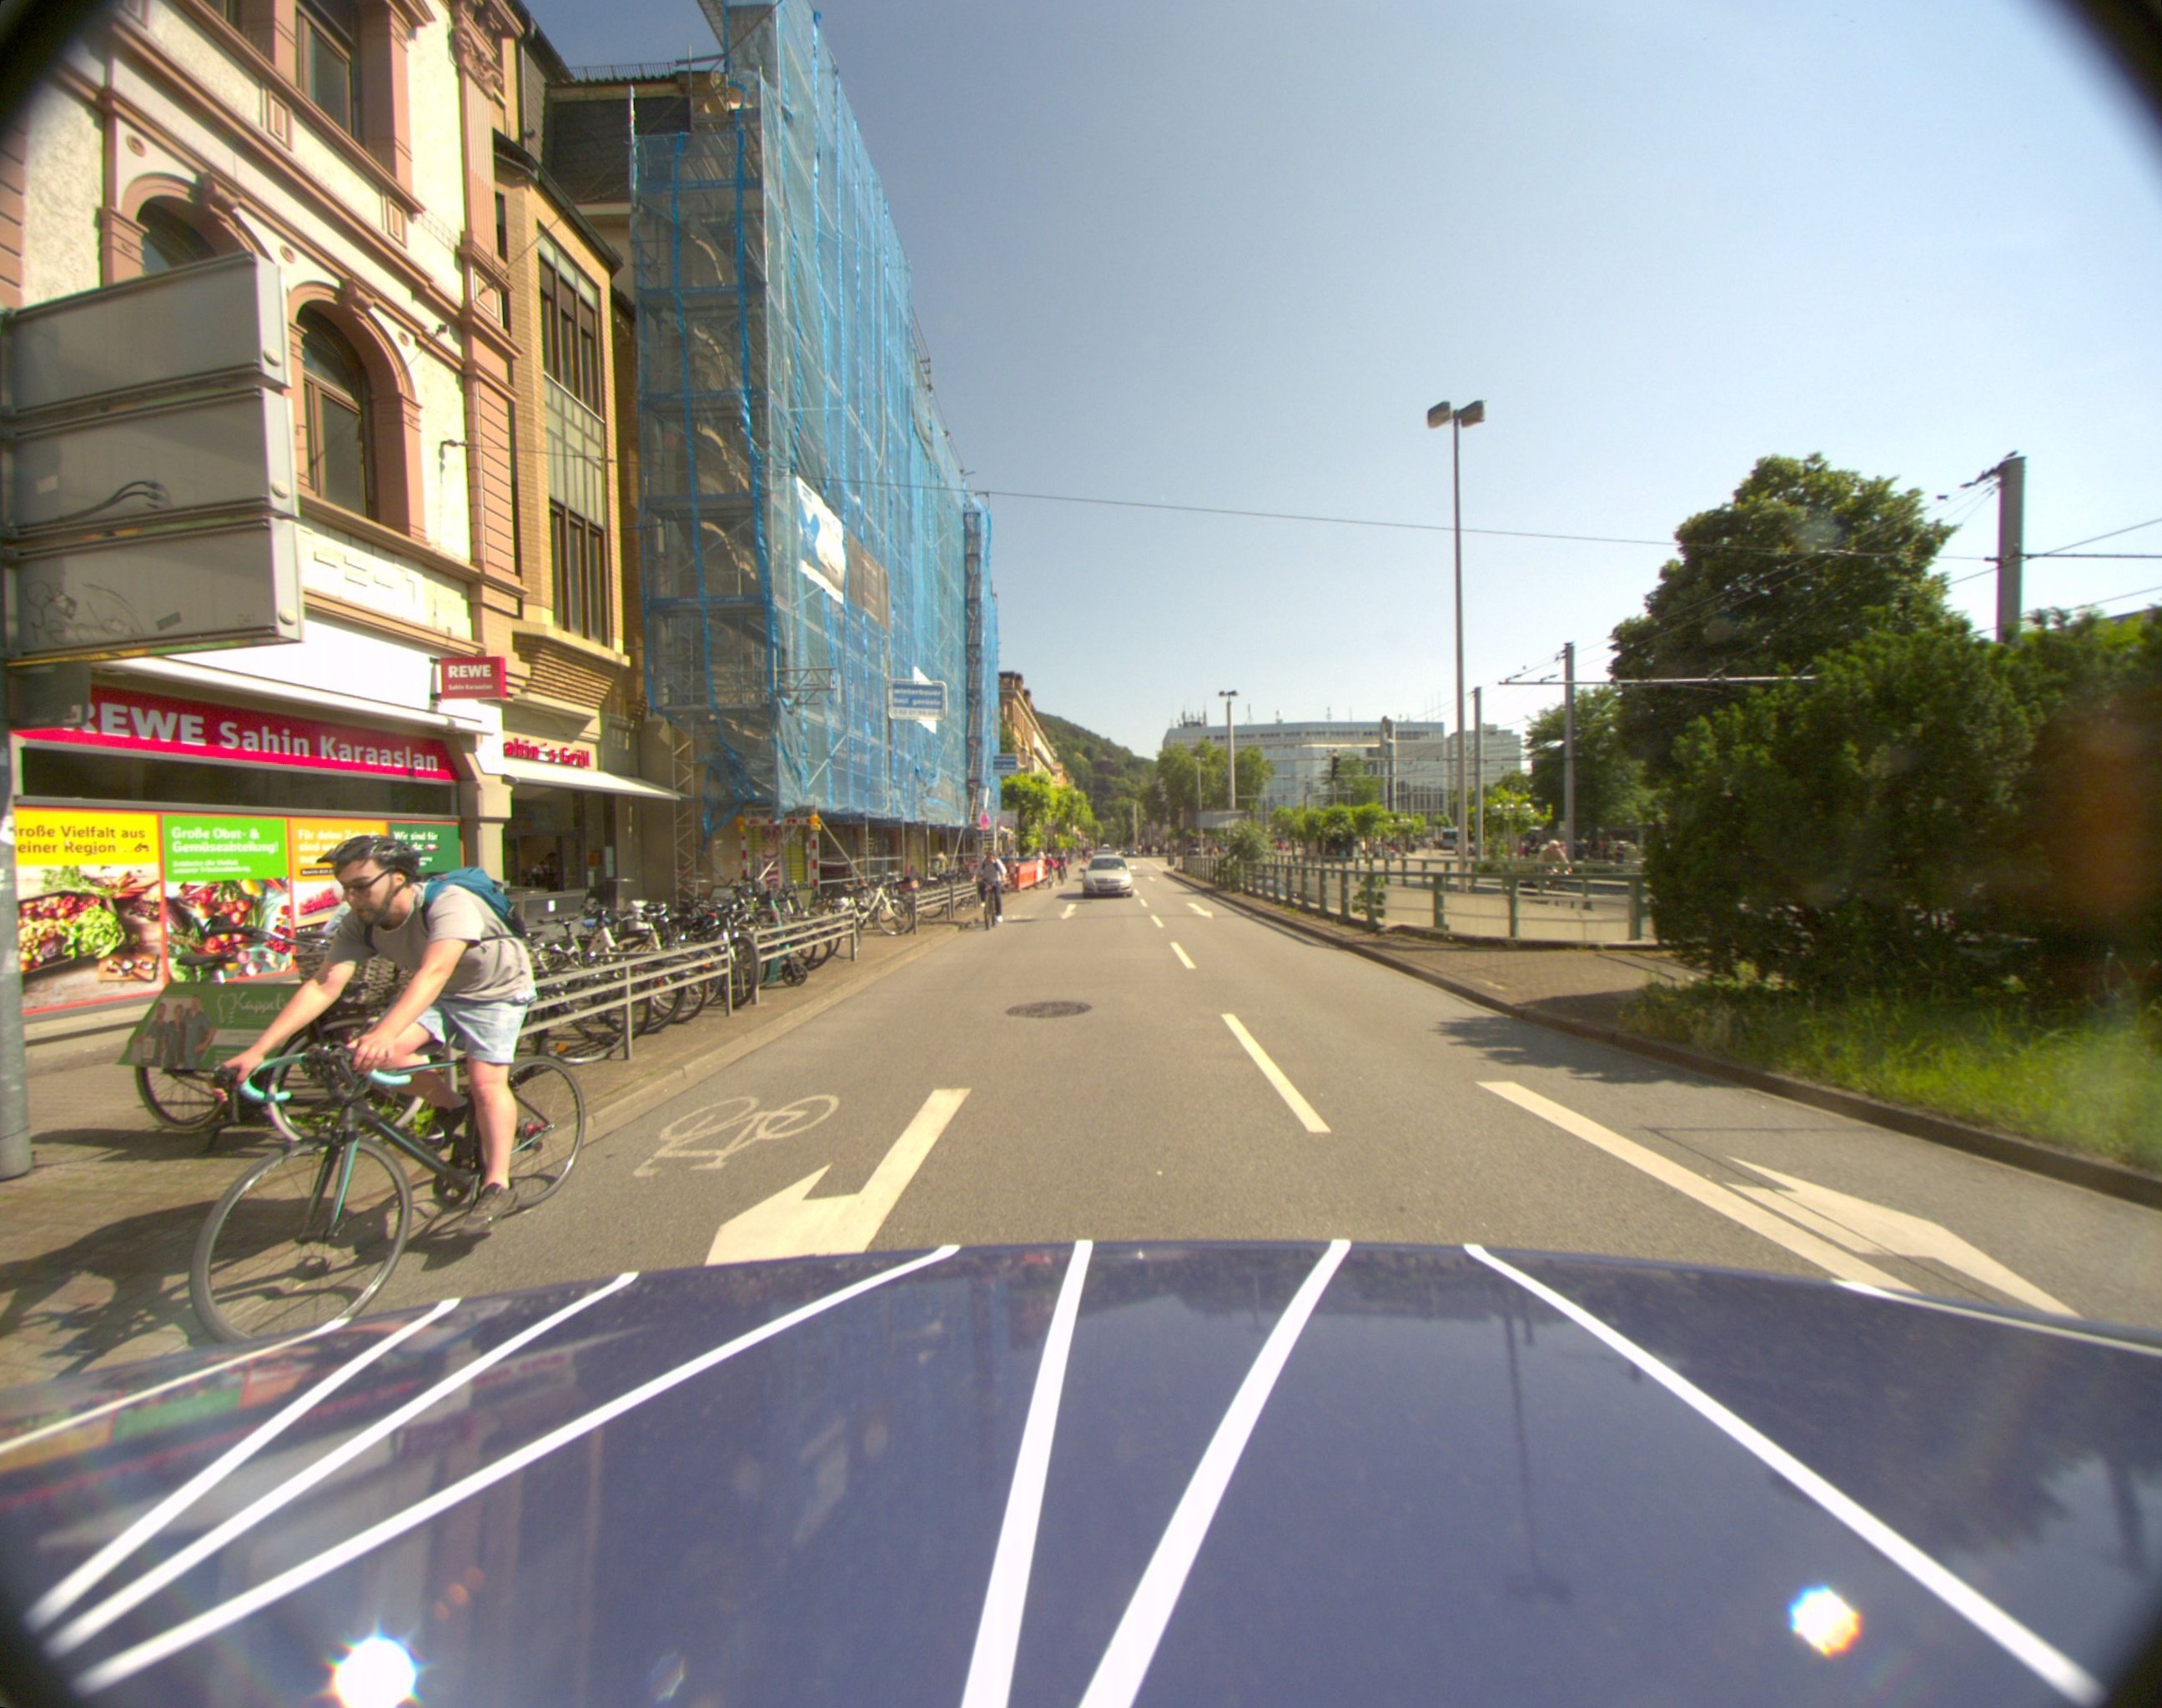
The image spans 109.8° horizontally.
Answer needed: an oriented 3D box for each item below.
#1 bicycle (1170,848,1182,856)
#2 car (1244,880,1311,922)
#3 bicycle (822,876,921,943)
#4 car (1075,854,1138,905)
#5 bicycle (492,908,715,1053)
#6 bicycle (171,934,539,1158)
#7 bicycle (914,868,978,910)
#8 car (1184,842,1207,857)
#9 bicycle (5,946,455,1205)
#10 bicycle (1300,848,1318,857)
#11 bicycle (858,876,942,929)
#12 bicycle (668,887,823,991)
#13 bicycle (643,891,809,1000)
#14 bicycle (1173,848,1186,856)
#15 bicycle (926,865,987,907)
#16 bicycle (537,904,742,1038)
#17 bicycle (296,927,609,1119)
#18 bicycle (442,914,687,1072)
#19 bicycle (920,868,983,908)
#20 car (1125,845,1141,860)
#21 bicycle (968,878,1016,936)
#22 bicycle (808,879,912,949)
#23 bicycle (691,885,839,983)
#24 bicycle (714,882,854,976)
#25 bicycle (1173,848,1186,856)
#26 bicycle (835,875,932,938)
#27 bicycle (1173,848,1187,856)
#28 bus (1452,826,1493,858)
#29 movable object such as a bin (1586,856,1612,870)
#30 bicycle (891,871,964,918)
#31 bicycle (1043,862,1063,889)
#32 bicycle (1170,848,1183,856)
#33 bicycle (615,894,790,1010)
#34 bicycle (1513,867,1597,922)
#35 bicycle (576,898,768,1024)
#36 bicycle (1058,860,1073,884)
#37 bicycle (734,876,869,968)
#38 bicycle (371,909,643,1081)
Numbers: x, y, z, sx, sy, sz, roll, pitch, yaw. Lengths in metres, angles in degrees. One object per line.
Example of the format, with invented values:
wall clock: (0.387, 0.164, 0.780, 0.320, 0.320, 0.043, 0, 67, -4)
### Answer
bicycle: (14.260, -0.342, 113.688, 1.757, 1.141, 0.483, -2, 2, 0)
car: (8.097, 1.896, 31.624, 1.699, 1.397, 3.999, 2, 1, 0)
bicycle: (-4.099, 1.083, 14.924, 1.697, 1.172, 0.608, -3, 2, 3)
car: (0.943, 0.828, 26.636, 1.917, 1.401, 4.000, -5, 1, 3)
bicycle: (-4.326, 1.141, 6.932, 1.697, 1.172, 0.460, -3, 2, 3)
bicycle: (-4.354, 1.121, 4.628, 1.697, 1.172, 0.608, 0, 1, 3)
bicycle: (-3.911, 1.015, 22.059, 1.697, 1.091, 0.608, -3, 2, 3)
car: (17.081, -0.715, 113.284, 1.995, 2.002, 5.073, -3, 1, 24)
bicycle: (-4.398, 1.123, 3.997, 1.697, 1.172, 0.608, -1, 1, 3)
bicycle: (25.479, -0.177, 84.900, 1.871, 0.851, 0.546, -4, 2, -10)
bicycle: (-4.075, 1.085, 17.184, 1.697, 1.081, 0.608, -3, 2, 3)
bicycle: (-4.200, 1.059, 9.553, 1.697, 1.172, 0.451, -3, 2, 3)
bicycle: (-4.205, 1.078, 9.050, 1.697, 1.172, 0.463, -3, 2, 3)
bicycle: (14.144, -0.273, 109.171, 1.757, 1.141, 0.483, -2, 2, 0)
bicycle: (-3.845, 0.988, 23.550, 1.697, 1.172, 0.608, -3, 2, 3)
bicycle: (-4.308, 1.132, 7.460, 1.697, 1.172, 0.459, -3, 2, 3)
bicycle: (-4.313, 1.131, 5.281, 1.697, 1.172, 0.608, 0, 1, 3)
bicycle: (-4.326, 1.154, 6.415, 1.697, 1.172, 0.470, -3, 2, 3)
bicycle: (-3.868, 1.007, 22.742, 1.697, 1.091, 0.608, -3, 2, 3)
car: (7.706, -0.234, 112.786, 1.998, 2.002, 3.999, -4, 1, 1)
bicycle: (-1.953, 1.142, 16.865, 0.736, 1.086, 1.897, -4, 1, 1)
bicycle: (-4.108, 1.103, 14.184, 1.697, 1.172, 0.608, -3, 2, 3)
bicycle: (-4.177, 1.051, 10.079, 1.697, 1.172, 0.490, -3, 2, 3)
bicycle: (-4.133, 1.038, 10.631, 1.697, 1.172, 0.497, -3, 2, 3)
bicycle: (14.135, -0.271, 108.674, 1.757, 1.141, 0.483, -2, 2, 0)
bicycle: (-4.077, 1.085, 15.731, 1.775, 1.172, 0.608, -3, 2, 3)
bicycle: (14.325, -0.262, 109.957, 1.865, 1.141, 0.483, -2, 2, 0)
bus: (47.605, -1.587, 92.751, 3.060, 3.400, 12.474, -3, 1, 21)
movable object such as a bin: (29.339, 0.499, 43.052, 0.909, 0.750, 0.800, 1, 1, 3)
bicycle: (-4.015, 1.050, 19.941, 1.743, 1.103, 0.608, -3, 2, 3)
bicycle: (-1.254, 0.953, 34.201, 0.736, 1.086, 1.819, -3, 1, 1)
bicycle: (14.032, -0.288, 111.878, 1.757, 1.141, 0.483, -2, 2, 0)
bicycle: (-4.239, 1.094, 8.557, 1.697, 1.172, 0.457, -3, 2, 3)
bicycle: (10.919, 0.910, 17.592, 0.819, 1.114, 1.874, 1, 2, 2)
bicycle: (-4.284, 1.113, 8.016, 1.697, 1.172, 0.514, -3, 2, 3)
bicycle: (-0.758, 0.882, 38.148, 0.667, 1.086, 1.897, -4, 1, 0)
bicycle: (-4.124, 0.994, 11.272, 1.697, 1.234, 0.608, -3, 2, 3)
bicycle: (-4.407, 1.068, 5.882, 1.697, 1.172, 0.470, -3, 2, 3)
